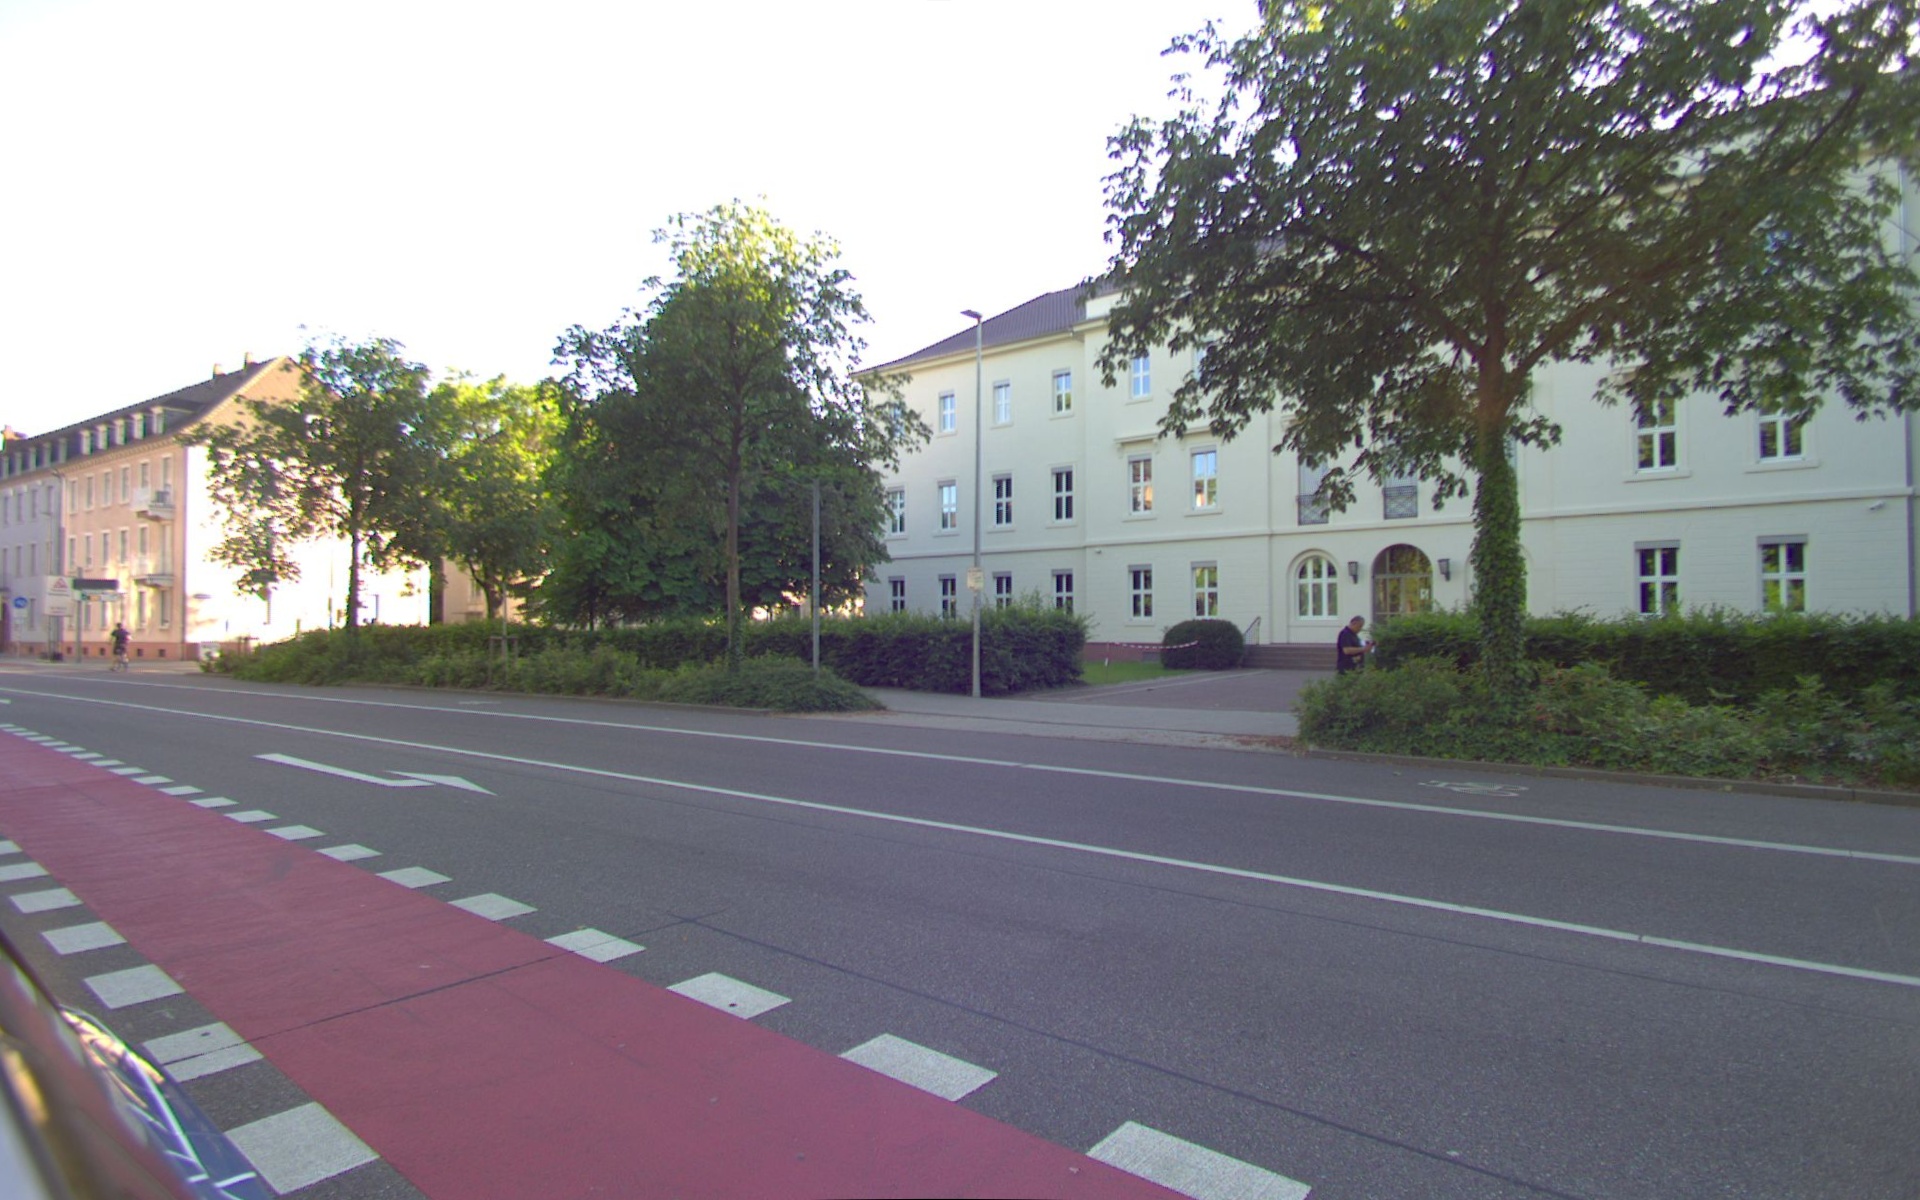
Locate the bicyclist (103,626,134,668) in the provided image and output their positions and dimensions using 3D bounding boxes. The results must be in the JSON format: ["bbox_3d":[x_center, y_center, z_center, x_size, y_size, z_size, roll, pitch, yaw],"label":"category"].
[{"bbox_3d":[-32.147,1.805,38.675,0.837,1.574,0.683,-2,-4,37],"label":"bicyclist"}]

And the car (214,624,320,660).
[{"bbox_3d":[-34.618,2.055,50.638,1.993,1.674,3.958,-1,-1,31],"label":"car"}]

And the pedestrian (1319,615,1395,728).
[{"bbox_3d":[6.326,1.116,16.119,0.965,1.733,0.828,-2,-3,33],"label":"pedestrian"}]

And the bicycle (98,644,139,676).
[{"bbox_3d":[-32.157,2.270,38.655,2.242,1.168,0.688,-2,-4,38],"label":"bicycle"}]
